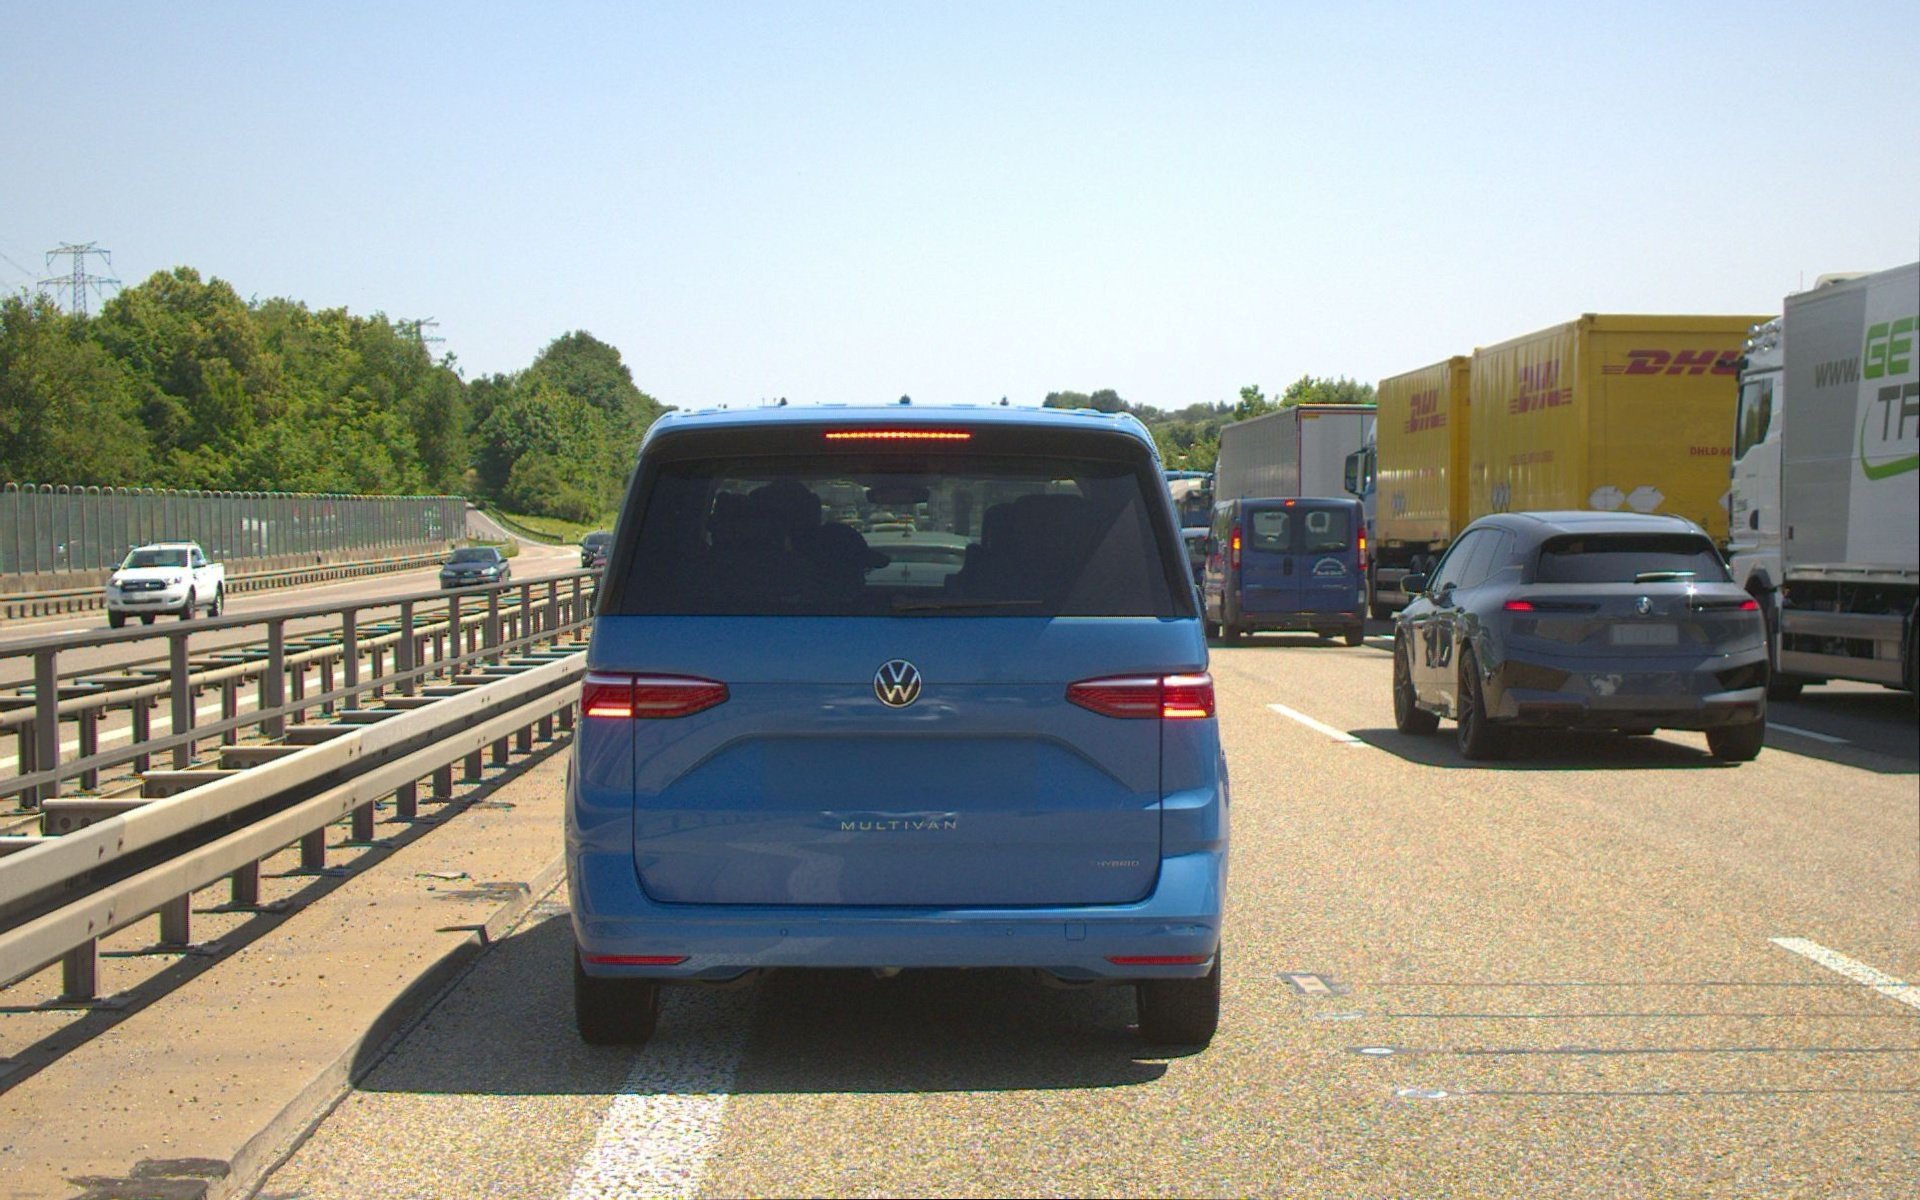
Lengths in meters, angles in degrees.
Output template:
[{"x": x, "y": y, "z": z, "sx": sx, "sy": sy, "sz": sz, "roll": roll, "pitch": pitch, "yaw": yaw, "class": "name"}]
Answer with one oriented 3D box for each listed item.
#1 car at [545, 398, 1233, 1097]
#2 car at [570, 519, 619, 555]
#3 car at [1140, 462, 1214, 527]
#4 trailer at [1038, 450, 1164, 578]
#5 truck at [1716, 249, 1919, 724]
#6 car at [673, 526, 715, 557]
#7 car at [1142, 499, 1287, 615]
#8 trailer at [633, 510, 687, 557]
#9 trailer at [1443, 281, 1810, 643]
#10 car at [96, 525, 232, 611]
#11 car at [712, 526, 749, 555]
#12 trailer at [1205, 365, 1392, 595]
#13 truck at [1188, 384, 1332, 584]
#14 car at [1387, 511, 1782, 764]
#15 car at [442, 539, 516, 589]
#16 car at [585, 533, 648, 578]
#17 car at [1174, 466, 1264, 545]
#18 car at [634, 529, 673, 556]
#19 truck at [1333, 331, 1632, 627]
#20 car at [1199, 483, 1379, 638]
[{"x": -0.216, "y": 0.360, "z": 11.226, "sx": 1.820, "sy": 1.851, "sz": 4.075, "roll": 1, "pitch": 1, "yaw": -1, "class": "car"}, {"x": -16.405, "y": -2.838, "z": 154.469, "sx": 1.729, "sy": 1.486, "sz": 4.420, "roll": -2, "pitch": 1, "yaw": -1, "class": "car"}, {"x": 6.818, "y": -3.308, "z": 108.403, "sx": 1.993, "sy": 2.007, "sz": 4.461, "roll": -1, "pitch": 1, "yaw": -1, "class": "car"}, {"x": 3.431, "y": -2.097, "z": 85.740, "sx": 2.569, "sy": 2.980, "sz": 10.663, "roll": 1, "pitch": 1, "yaw": -1, "class": "trailer"}, {"x": 8.648, "y": -0.894, "z": 27.224, "sx": 2.656, "sy": 3.635, "sz": 11.012, "roll": 0, "pitch": 1, "yaw": -1, "class": "truck"}, {"x": -13.195, "y": -2.905, "z": 170.907, "sx": 1.791, "sy": 1.473, "sz": 3.989, "roll": -1, "pitch": 1, "yaw": 0, "class": "car"}, {"x": 4.075, "y": -0.719, "z": 55.636, "sx": 1.993, "sy": 1.809, "sz": 4.000, "roll": 0, "pitch": 1, "yaw": -1, "class": "car"}, {"x": -17.161, "y": -3.842, "z": 197.006, "sx": 2.493, "sy": 2.540, "sz": 6.774, "roll": -2, "pitch": 1, "yaw": -1, "class": "trailer"}, {"x": 8.476, "y": -1.691, "z": 44.980, "sx": 2.864, "sy": 4.224, "sz": 9.012, "roll": 1, "pitch": 1, "yaw": -1, "class": "trailer"}, {"x": -18.142, "y": -0.768, "z": 78.575, "sx": 1.993, "sy": 1.878, "sz": 5.256, "roll": 0, "pitch": 1, "yaw": -1, "class": "car"}, {"x": -12.631, "y": -3.295, "z": 189.503, "sx": 1.668, "sy": 1.443, "sz": 4.000, "roll": -3, "pitch": 1, "yaw": 1, "class": "car"}, {"x": 7.063, "y": -2.491, "z": 73.330, "sx": 2.637, "sy": 4.501, "sz": 11.302, "roll": 1, "pitch": 1, "yaw": -1, "class": "trailer"}, {"x": 6.961, "y": -2.666, "z": 80.663, "sx": 2.667, "sy": 4.469, "sz": 6.850, "roll": 1, "pitch": 1, "yaw": -1, "class": "truck"}, {"x": 4.316, "y": 0.195, "z": 24.446, "sx": 1.962, "sy": 1.639, "sz": 4.293, "roll": 0, "pitch": 1, "yaw": -1, "class": "car"}, {"x": -14.168, "y": -1.083, "z": 101.462, "sx": 1.597, "sy": 1.345, "sz": 4.180, "roll": -3, "pitch": 1, "yaw": -1, "class": "car"}, {"x": -10.833, "y": -1.411, "z": 108.588, "sx": 1.597, "sy": 1.313, "sz": 4.342, "roll": -2, "pitch": 1, "yaw": -1, "class": "car"}, {"x": 6.825, "y": -2.475, "z": 90.934, "sx": 1.993, "sy": 2.007, "sz": 4.000, "roll": 1, "pitch": 1, "yaw": -1, "class": "car"}, {"x": -17.041, "y": -3.192, "z": 191.250, "sx": 1.775, "sy": 1.403, "sz": 4.683, "roll": -2, "pitch": 1, "yaw": -1, "class": "car"}, {"x": 8.128, "y": -1.849, "z": 55.039, "sx": 2.836, "sy": 4.228, "sz": 11.011, "roll": 1, "pitch": 1, "yaw": -1, "class": "truck"}, {"x": 4.395, "y": -0.557, "z": 46.529, "sx": 1.962, "sy": 1.986, "sz": 4.293, "roll": 0, "pitch": 1, "yaw": -1, "class": "car"}]
